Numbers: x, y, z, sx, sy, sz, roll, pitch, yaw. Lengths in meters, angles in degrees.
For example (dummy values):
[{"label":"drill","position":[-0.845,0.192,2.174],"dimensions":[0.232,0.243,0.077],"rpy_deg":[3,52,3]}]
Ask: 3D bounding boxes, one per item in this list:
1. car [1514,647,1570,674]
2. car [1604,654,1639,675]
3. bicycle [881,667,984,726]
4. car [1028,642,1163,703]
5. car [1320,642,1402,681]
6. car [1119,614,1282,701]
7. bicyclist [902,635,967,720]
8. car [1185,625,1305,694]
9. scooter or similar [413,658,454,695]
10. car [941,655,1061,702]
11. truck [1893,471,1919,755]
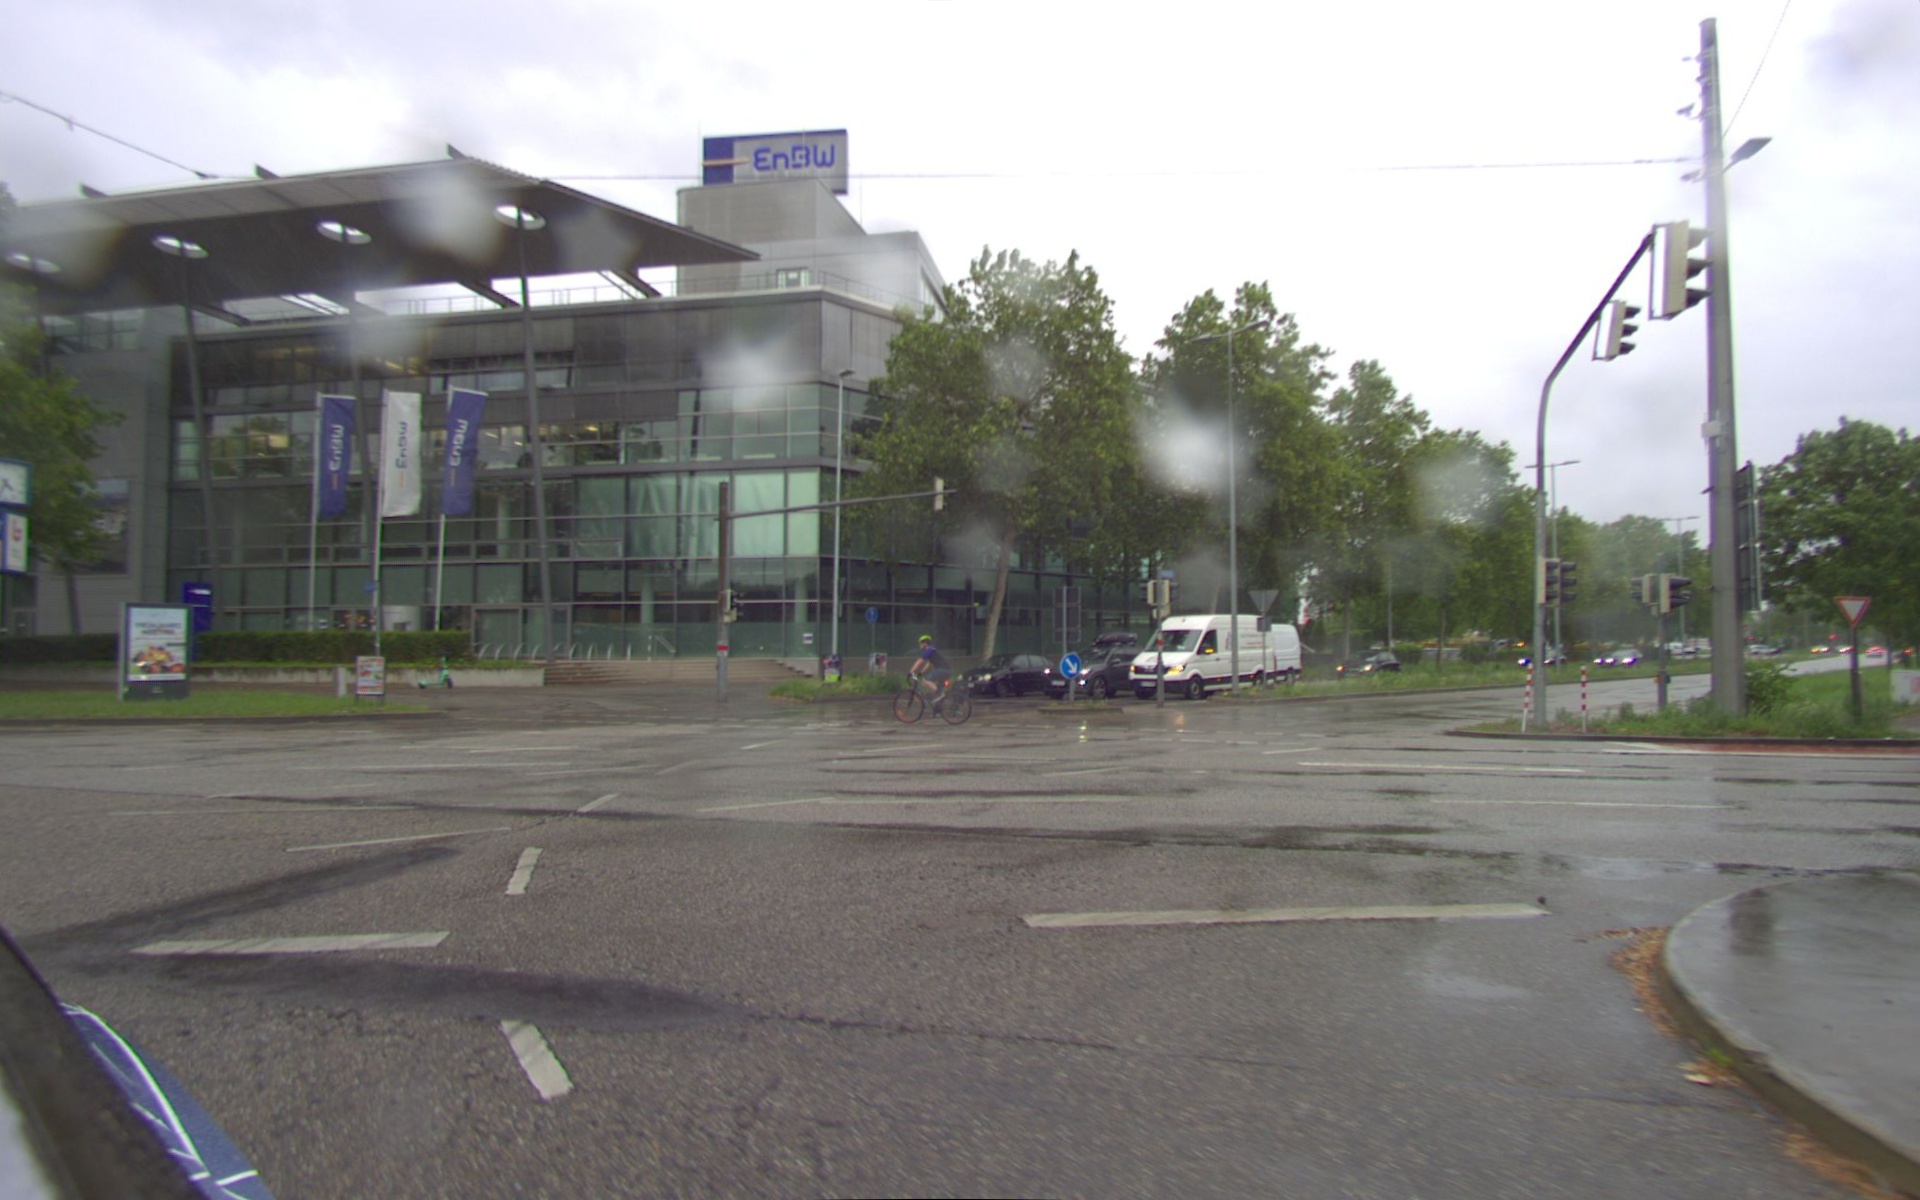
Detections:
[{"label":"car","position":[36.455,3.773,63.367],"dimensions":[3.864,1.597,1.912],"rpy_deg":[2,-4,-42]},{"label":"car","position":[51.033,4.970,78.018],"dimensions":[1.582,1.534,3.868],"rpy_deg":[-3,-4,43]},{"label":"bicycle","position":[-0.546,1.883,19.799],"dimensions":[1.899,1.103,0.690],"rpy_deg":[-3,-4,21]},{"label":"car","position":[4.304,2.243,31.749],"dimensions":[4.263,1.761,2.001],"rpy_deg":[3,-4,-44]},{"label":"car","position":[18.085,2.744,45.613],"dimensions":[3.938,1.697,1.871],"rpy_deg":[2,-4,-42]},{"label":"car","position":[7.501,1.745,31.173],"dimensions":[5.871,2.452,1.972],"rpy_deg":[3,-4,-43]},{"label":"bicyclist","position":[-0.493,1.508,19.787],"dimensions":[1.039,1.606,0.800],"rpy_deg":[-3,-4,19]},{"label":"car","position":[10.880,2.222,38.456],"dimensions":[5.182,2.452,1.972],"rpy_deg":[3,-4,-43]},{"label":"scooter or similar","position":[-16.744,2.429,32.188],"dimensions":[1.161,1.147,0.340],"rpy_deg":[0,-3,7]},{"label":"car","position":[1.411,2.558,33.539],"dimensions":[1.804,1.448,3.942],"rpy_deg":[-4,-5,44]},{"label":"truck","position":[18.268,0.091,12.305],"dimensions":[10.085,3.979,2.678],"rpy_deg":[-1,-3,11]}]
